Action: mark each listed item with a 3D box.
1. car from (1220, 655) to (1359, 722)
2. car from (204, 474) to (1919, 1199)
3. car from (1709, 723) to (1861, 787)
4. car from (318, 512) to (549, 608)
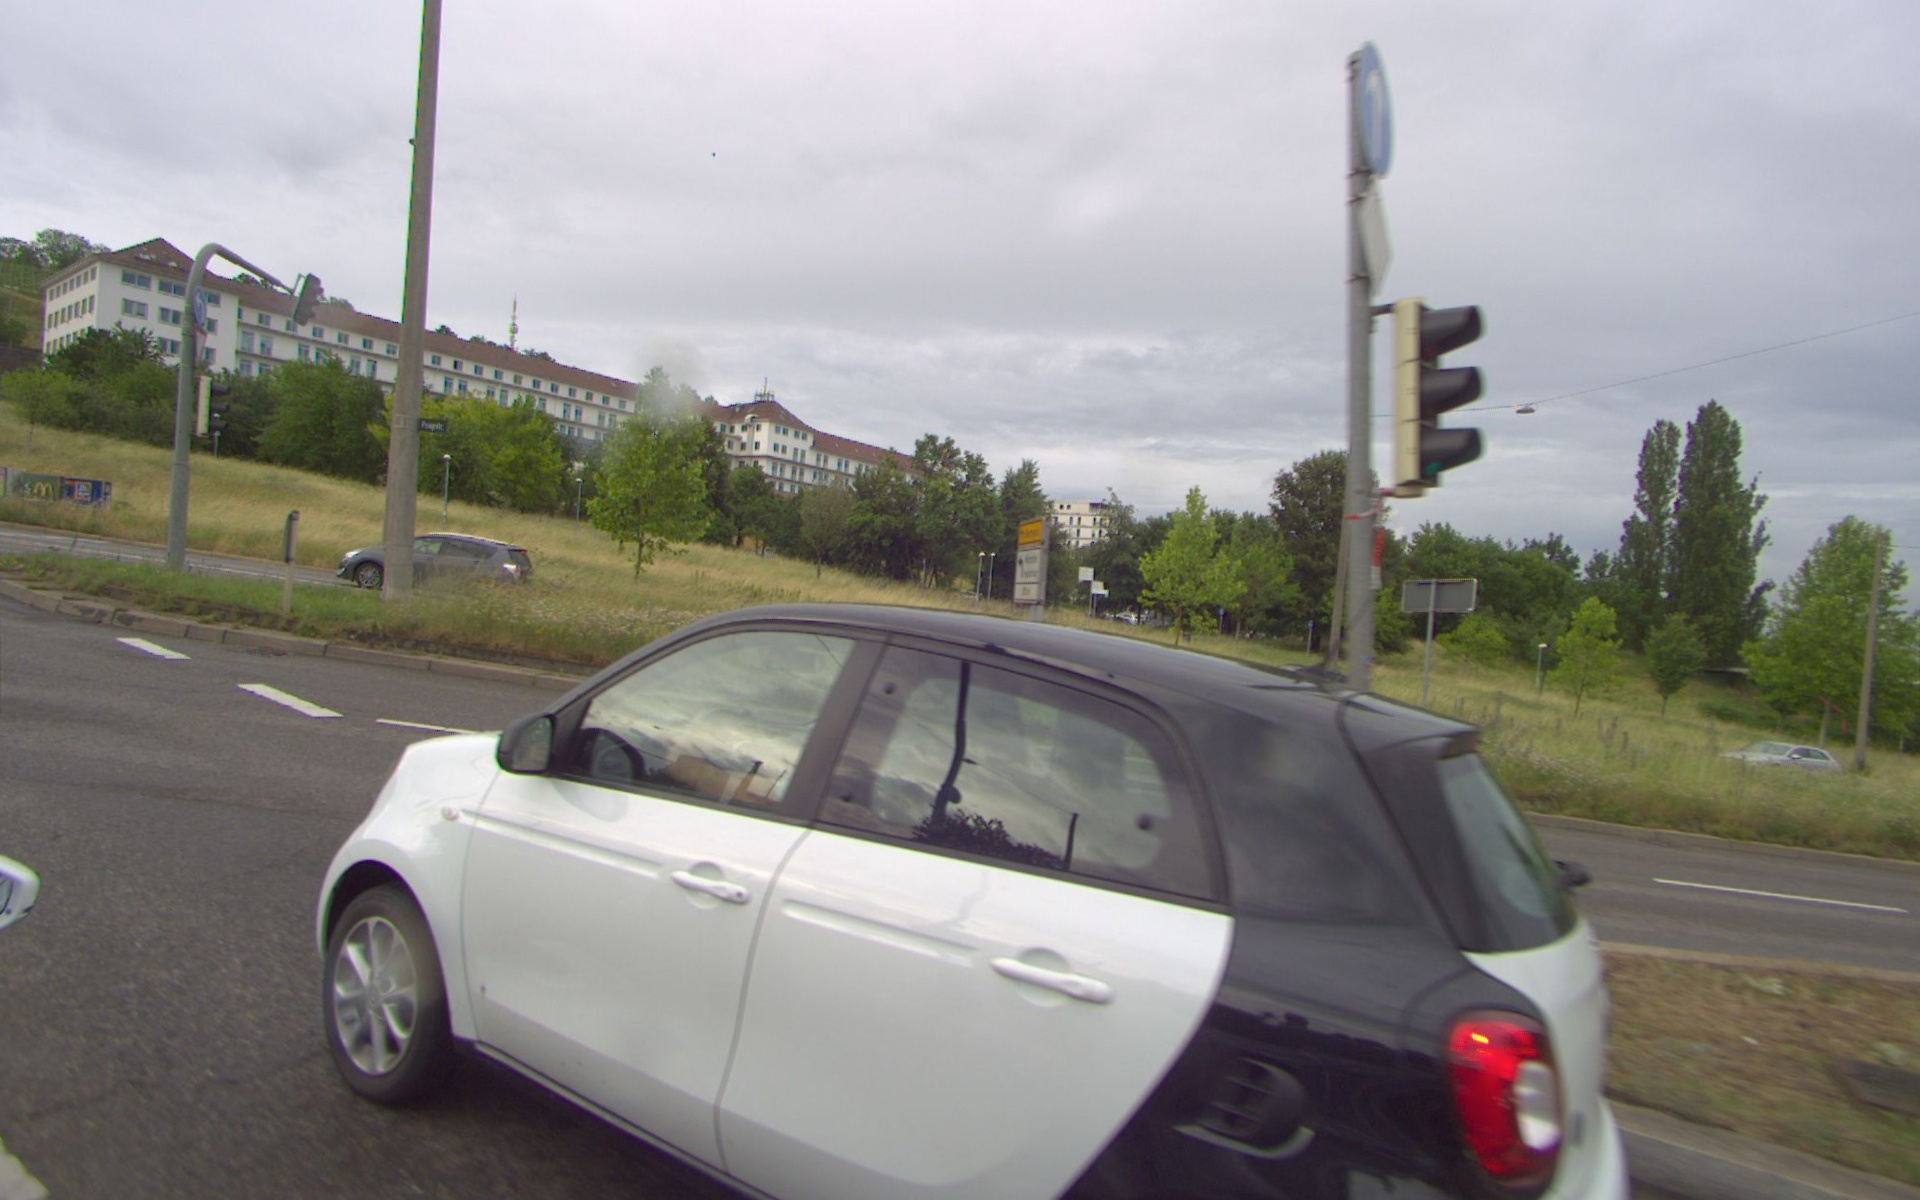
[{"bbox_3d":[10.658,2.868,32.654,3.820,1.659,1.723,8,-5,-6],"label":"car"},{"bbox_3d":[0.009,0.740,2.768,4.155,1.539,1.726,9,-2,30],"label":"car"},{"bbox_3d":[27.802,5.207,33.955,3.935,1.445,1.744,8,0,-11],"label":"car"},{"bbox_3d":[-13.027,-0.945,25.193,4.550,1.661,1.998,8,-2,-9],"label":"car"}]
